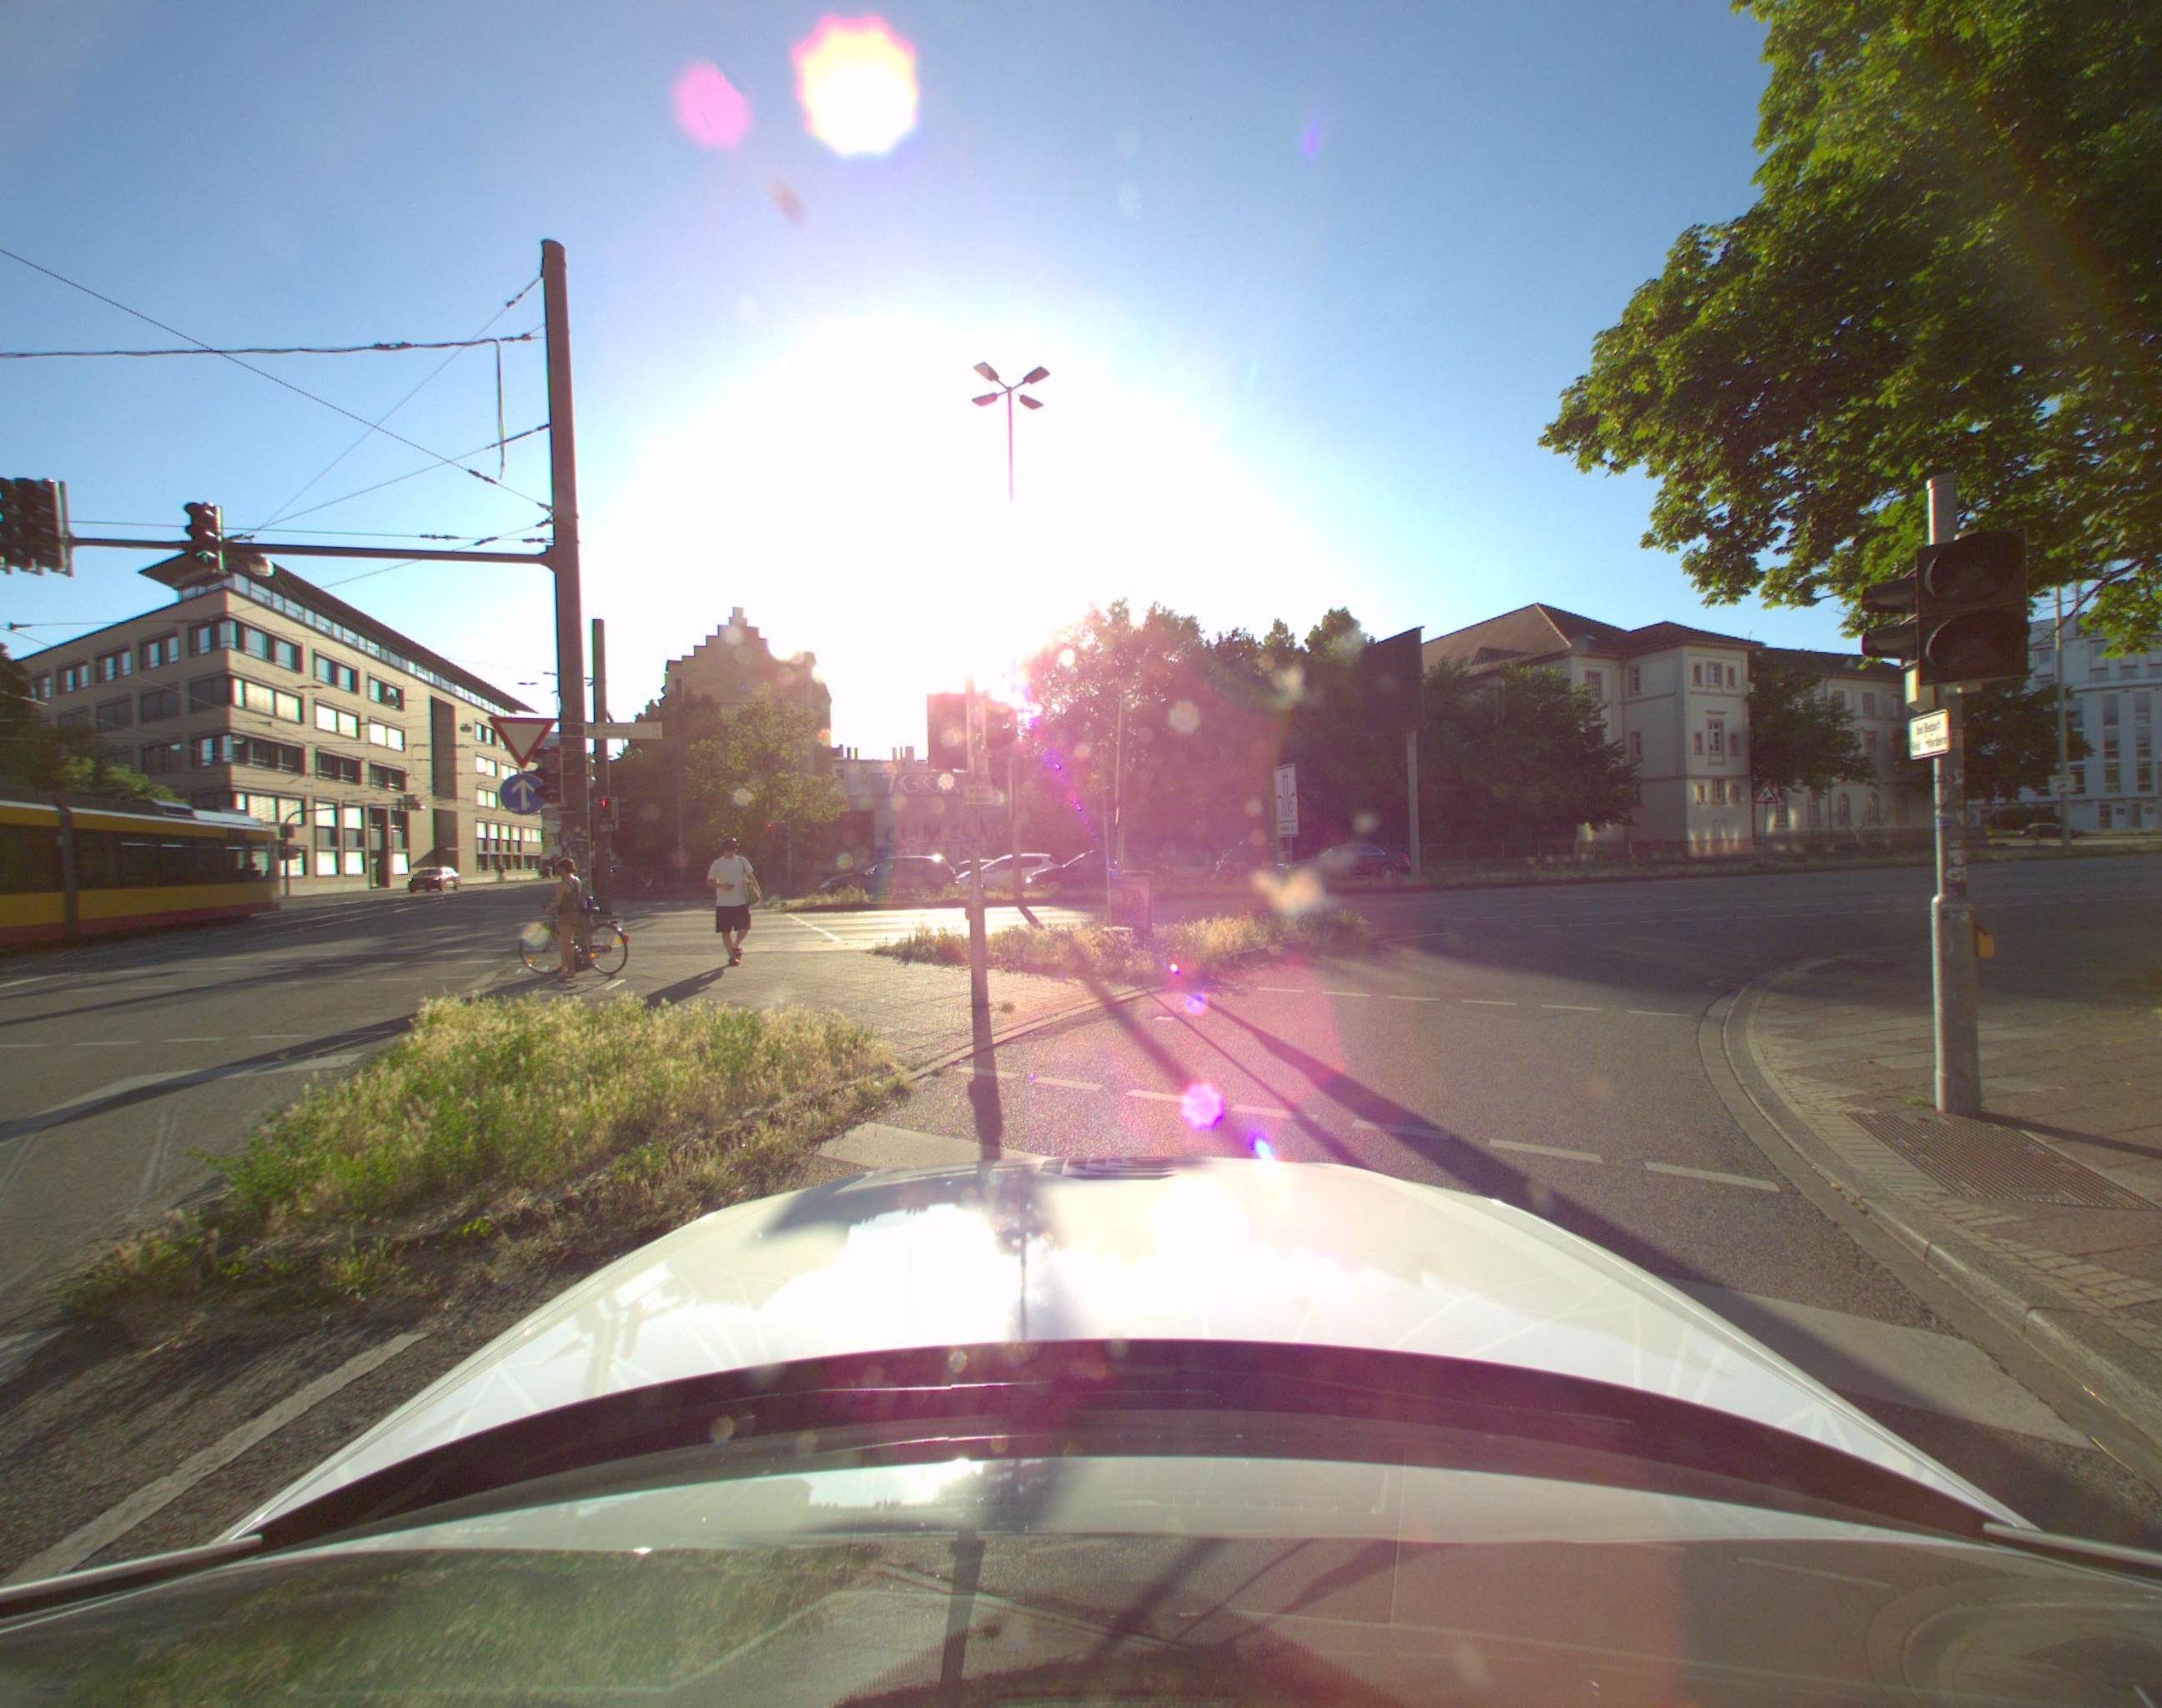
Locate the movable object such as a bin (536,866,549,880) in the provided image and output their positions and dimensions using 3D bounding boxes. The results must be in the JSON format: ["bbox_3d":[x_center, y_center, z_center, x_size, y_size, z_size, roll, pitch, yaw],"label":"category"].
[{"bbox_3d":[-62.222,2.169,94.101,1.069,1.628,0.883,-2,0,-20],"label":"movable object such as a bin"}]

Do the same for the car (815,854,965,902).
[{"bbox_3d":[-5.832,0.729,25.226,4.225,1.296,1.722,-2,0,-3],"label":"car"}]

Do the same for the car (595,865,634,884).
[{"bbox_3d":[-38.009,1.674,66.445,1.789,1.388,3.978,-2,0,-16],"label":"car"}]

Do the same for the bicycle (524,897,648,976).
[{"bbox_3d":[-6.836,1.138,11.245,1.654,1.029,0.401,-2,0,14],"label":"bicycle"}]

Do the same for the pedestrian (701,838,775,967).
[{"bbox_3d":[-5.049,0.679,11.956,0.913,1.789,0.820,-2,0,-26],"label":"pedestrian"}]

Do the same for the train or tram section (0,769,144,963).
[{"bbox_3d":[-21.792,0.280,15.888,2.878,3.507,5.254,-2,0,-29],"label":"train or tram section"}]

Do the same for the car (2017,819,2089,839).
[{"bbox_3d":[88.064,-2.221,73.806,1.865,1.530,3.790,0,-2,-23],"label":"car"}]

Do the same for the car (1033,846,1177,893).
[{"bbox_3d":[0.681,0.474,25.568,4.354,1.296,1.722,-2,0,-5],"label":"car"}]

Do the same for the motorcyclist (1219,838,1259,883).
[{"bbox_3d":[5.024,0.207,25.934,1.056,1.398,0.853,-2,0,-4],"label":"motorcyclist"}]

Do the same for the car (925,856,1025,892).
[{"bbox_3d":[-4.274,0.789,33.130,3.877,1.296,1.720,-2,0,-7],"label":"car"}]

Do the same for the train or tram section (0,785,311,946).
[{"bbox_3d":[-25.715,0.318,23.035,2.878,3.507,11.191,-2,0,-29],"label":"train or tram section"}]

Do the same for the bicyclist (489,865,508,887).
[{"bbox_3d":[-54.196,2.035,75.811,0.993,2.013,1.244,-2,0,-15],"label":"bicyclist"}]

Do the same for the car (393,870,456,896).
[{"bbox_3d":[-44.537,1.917,55.350,1.821,1.614,4.437,-2,0,-18],"label":"car"}]

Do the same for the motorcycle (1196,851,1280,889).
[{"bbox_3d":[4.976,0.497,25.927,2.457,1.108,0.860,-2,0,-5],"label":"motorcycle"}]

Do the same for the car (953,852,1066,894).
[{"bbox_3d":[-2.546,0.660,29.128,3.877,1.319,1.720,-2,0,-7],"label":"car"}]

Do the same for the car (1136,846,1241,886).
[{"bbox_3d":[4.487,0.475,34.161,3.989,1.464,1.853,-2,1,-11],"label":"car"}]

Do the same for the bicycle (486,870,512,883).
[{"bbox_3d":[-54.210,2.054,75.828,1.011,1.135,2.813,-1,0,-15],"label":"bicycle"}]

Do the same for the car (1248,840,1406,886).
[{"bbox_3d":[9.085,0.316,30.179,5.276,1.496,1.993,-2,0,-11],"label":"car"}]

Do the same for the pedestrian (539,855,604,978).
[{"bbox_3d":[-6.942,0.839,11.104,0.520,1.631,0.491,-2,0,14],"label":"pedestrian"}]
